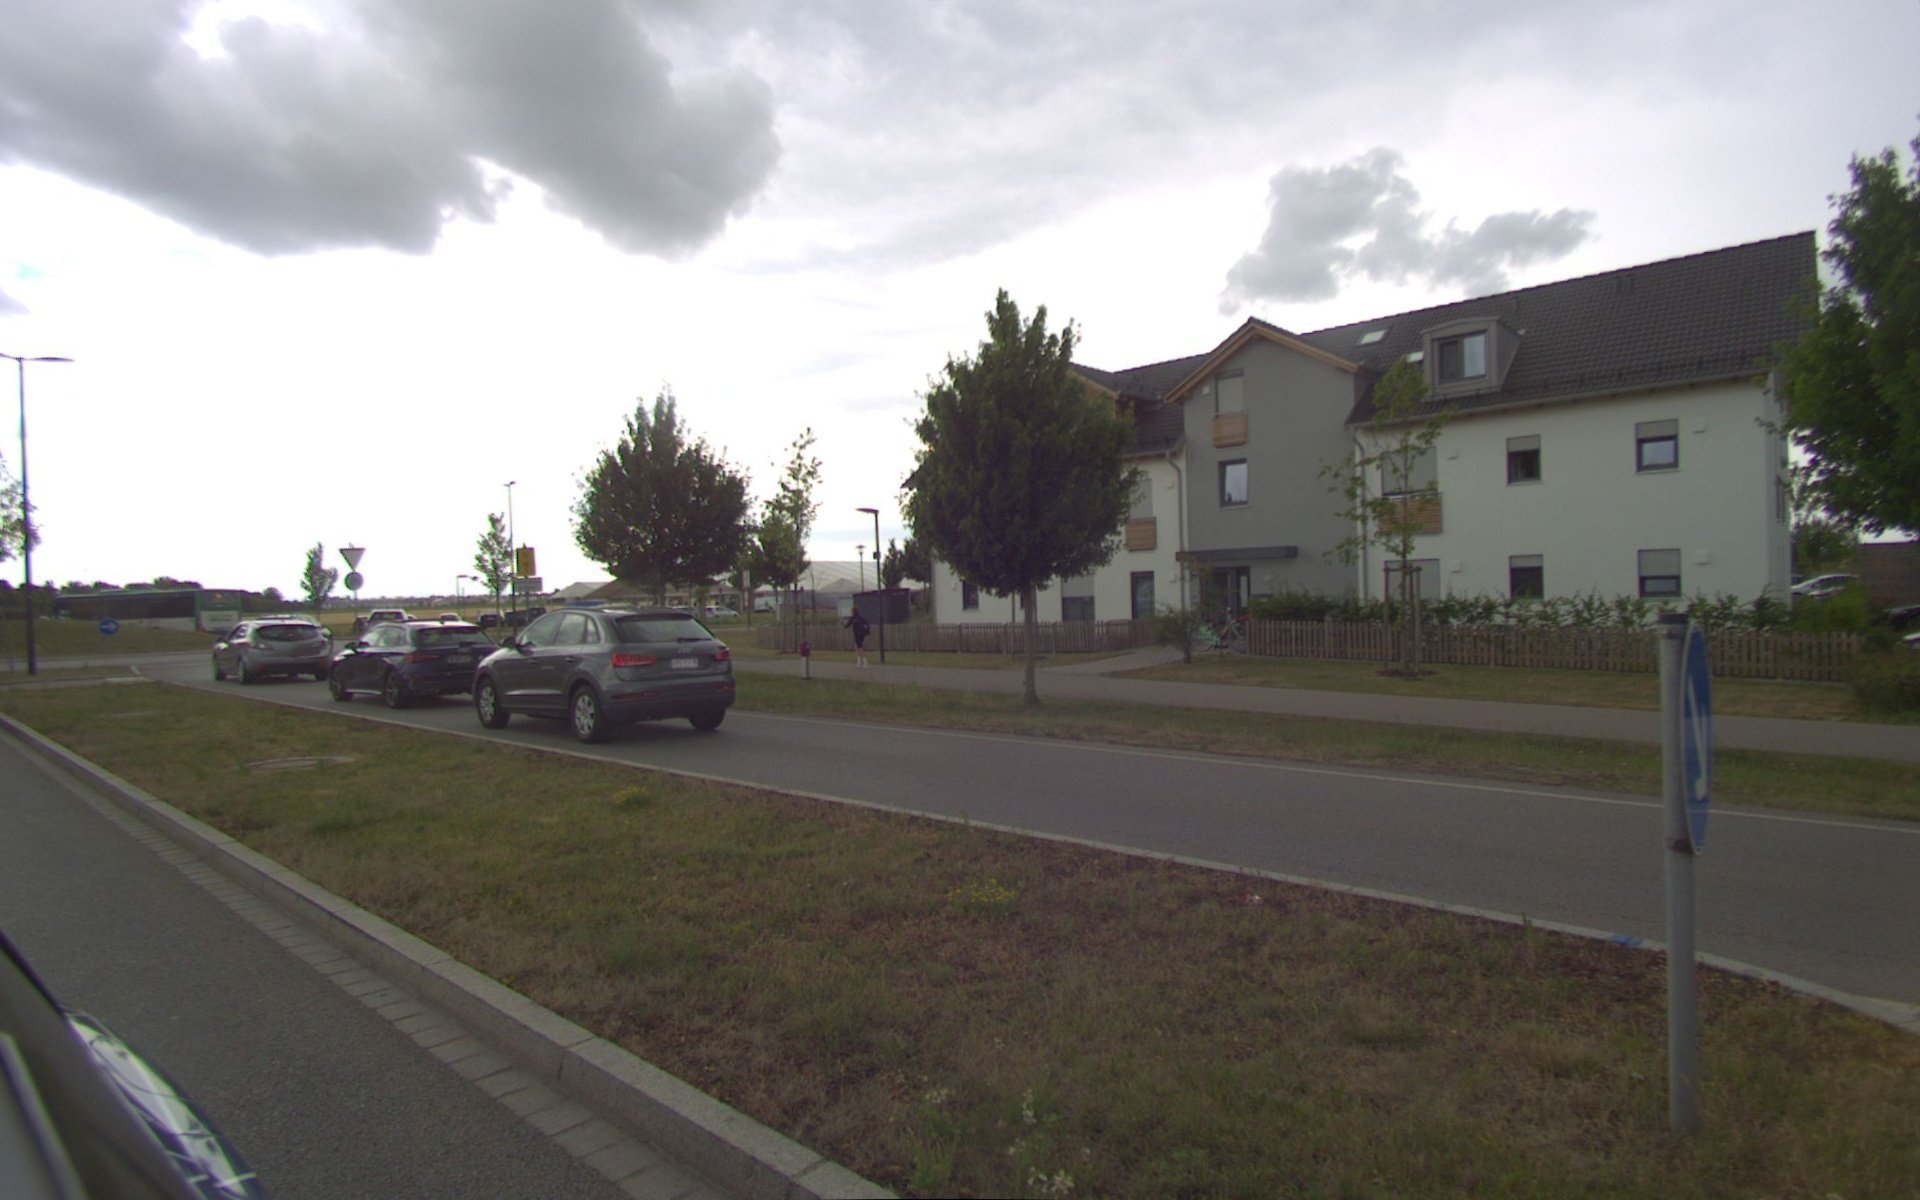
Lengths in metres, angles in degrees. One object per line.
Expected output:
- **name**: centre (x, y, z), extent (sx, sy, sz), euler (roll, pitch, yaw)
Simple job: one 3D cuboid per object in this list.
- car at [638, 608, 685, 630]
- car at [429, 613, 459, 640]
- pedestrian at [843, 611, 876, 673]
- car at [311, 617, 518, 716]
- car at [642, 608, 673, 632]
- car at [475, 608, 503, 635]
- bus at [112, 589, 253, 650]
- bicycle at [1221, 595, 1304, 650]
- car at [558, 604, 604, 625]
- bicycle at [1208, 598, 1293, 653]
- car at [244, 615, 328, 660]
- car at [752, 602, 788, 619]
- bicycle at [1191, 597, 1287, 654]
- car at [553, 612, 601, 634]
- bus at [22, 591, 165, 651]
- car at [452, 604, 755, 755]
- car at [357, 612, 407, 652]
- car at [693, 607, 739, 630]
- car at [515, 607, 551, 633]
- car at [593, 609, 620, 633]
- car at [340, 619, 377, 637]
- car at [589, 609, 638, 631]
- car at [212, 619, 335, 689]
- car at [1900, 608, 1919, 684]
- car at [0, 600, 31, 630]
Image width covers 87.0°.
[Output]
- **car**: centre (-27.892, 1.777, 94.548), extent (1.991, 2.029, 3.961), euler (-1, -1, 28)
- **car**: centre (-40.339, 2.082, 79.173), extent (1.965, 2.029, 4.013), euler (0, -1, -24)
- **pedestrian**: centre (-2.567, 1.061, 25.853), extent (0.586, 1.541, 0.540), euler (-2, 1, 41)
- **car**: centre (-9.619, 1.080, 17.689), extent (4.348, 1.500, 1.806), euler (-2, -1, 41)
- **car**: centre (-26.011, 1.740, 86.895), extent (2.194, 2.029, 4.013), euler (0, -1, -21)
- **car**: centre (-37.234, 1.693, 80.094), extent (1.965, 2.029, 4.013), euler (0, -1, -24)
- **bus**: centre (-43.972, 1.120, 57.315), extent (6.419, 3.305, 2.981), euler (-1, -1, 13)
- **bicycle**: centre (8.285, 0.620, 27.772), extent (2.093, 1.439, 0.675), euler (-2, -2, 41)
- **car**: centre (-37.726, 1.466, 100.893), extent (1.991, 2.029, 3.961), euler (-1, -1, 28)
- **bicycle**: centre (7.784, 0.679, 27.180), extent (2.093, 1.428, 0.675), euler (-2, -2, 41)
- **car**: centre (-24.133, 1.316, 36.387), extent (1.800, 1.500, 4.351), euler (0, -1, -24)
- **car**: centre (-23.824, 1.335, 127.030), extent (1.991, 2.029, 4.523), euler (-1, -1, 28)
- **bicycle**: centre (7.251, 0.675, 26.392), extent (2.342, 1.423, 0.675), euler (-2, -2, 41)
- **car**: centre (-36.172, 2.145, 95.701), extent (1.991, 2.029, 3.961), euler (-1, -1, 28)
- **bus**: centre (-50.345, 1.246, 58.872), extent (6.634, 3.305, 2.981), euler (-1, -1, 13)
- **car**: centre (-4.639, 0.896, 12.869), extent (4.214, 1.594, 1.806), euler (-2, -1, 41)
- **car**: centre (-27.072, 1.440, 47.530), extent (1.800, 1.735, 4.414), euler (0, 0, -27)
- **car**: centre (-22.236, 1.650, 92.246), extent (1.991, 2.029, 3.961), euler (-1, -1, 28)
- **car**: centre (-34.261, 1.591, 81.140), extent (1.966, 2.029, 4.010), euler (0, -1, -34)
- **car**: centre (-30.048, 1.784, 86.002), extent (1.965, 2.029, 4.013), euler (0, -1, -21)
- **car**: centre (-45.598, 2.116, 76.760), extent (1.965, 1.298, 4.013), euler (0, -1, -24)
- **car**: centre (-32.606, 1.862, 95.318), extent (1.994, 2.029, 3.956), euler (-2, -1, 32)
- **car**: centre (-16.487, 1.230, 24.224), extent (1.804, 1.500, 4.220), euler (0, -2, -43)
- **car**: centre (20.224, 0.844, 18.755), extent (3.998, 1.431, 1.856), euler (-2, -1, 41)
- **car**: centre (-55.392, 0.880, 57.621), extent (1.967, 1.697, 4.010), euler (-1, -1, -12)
